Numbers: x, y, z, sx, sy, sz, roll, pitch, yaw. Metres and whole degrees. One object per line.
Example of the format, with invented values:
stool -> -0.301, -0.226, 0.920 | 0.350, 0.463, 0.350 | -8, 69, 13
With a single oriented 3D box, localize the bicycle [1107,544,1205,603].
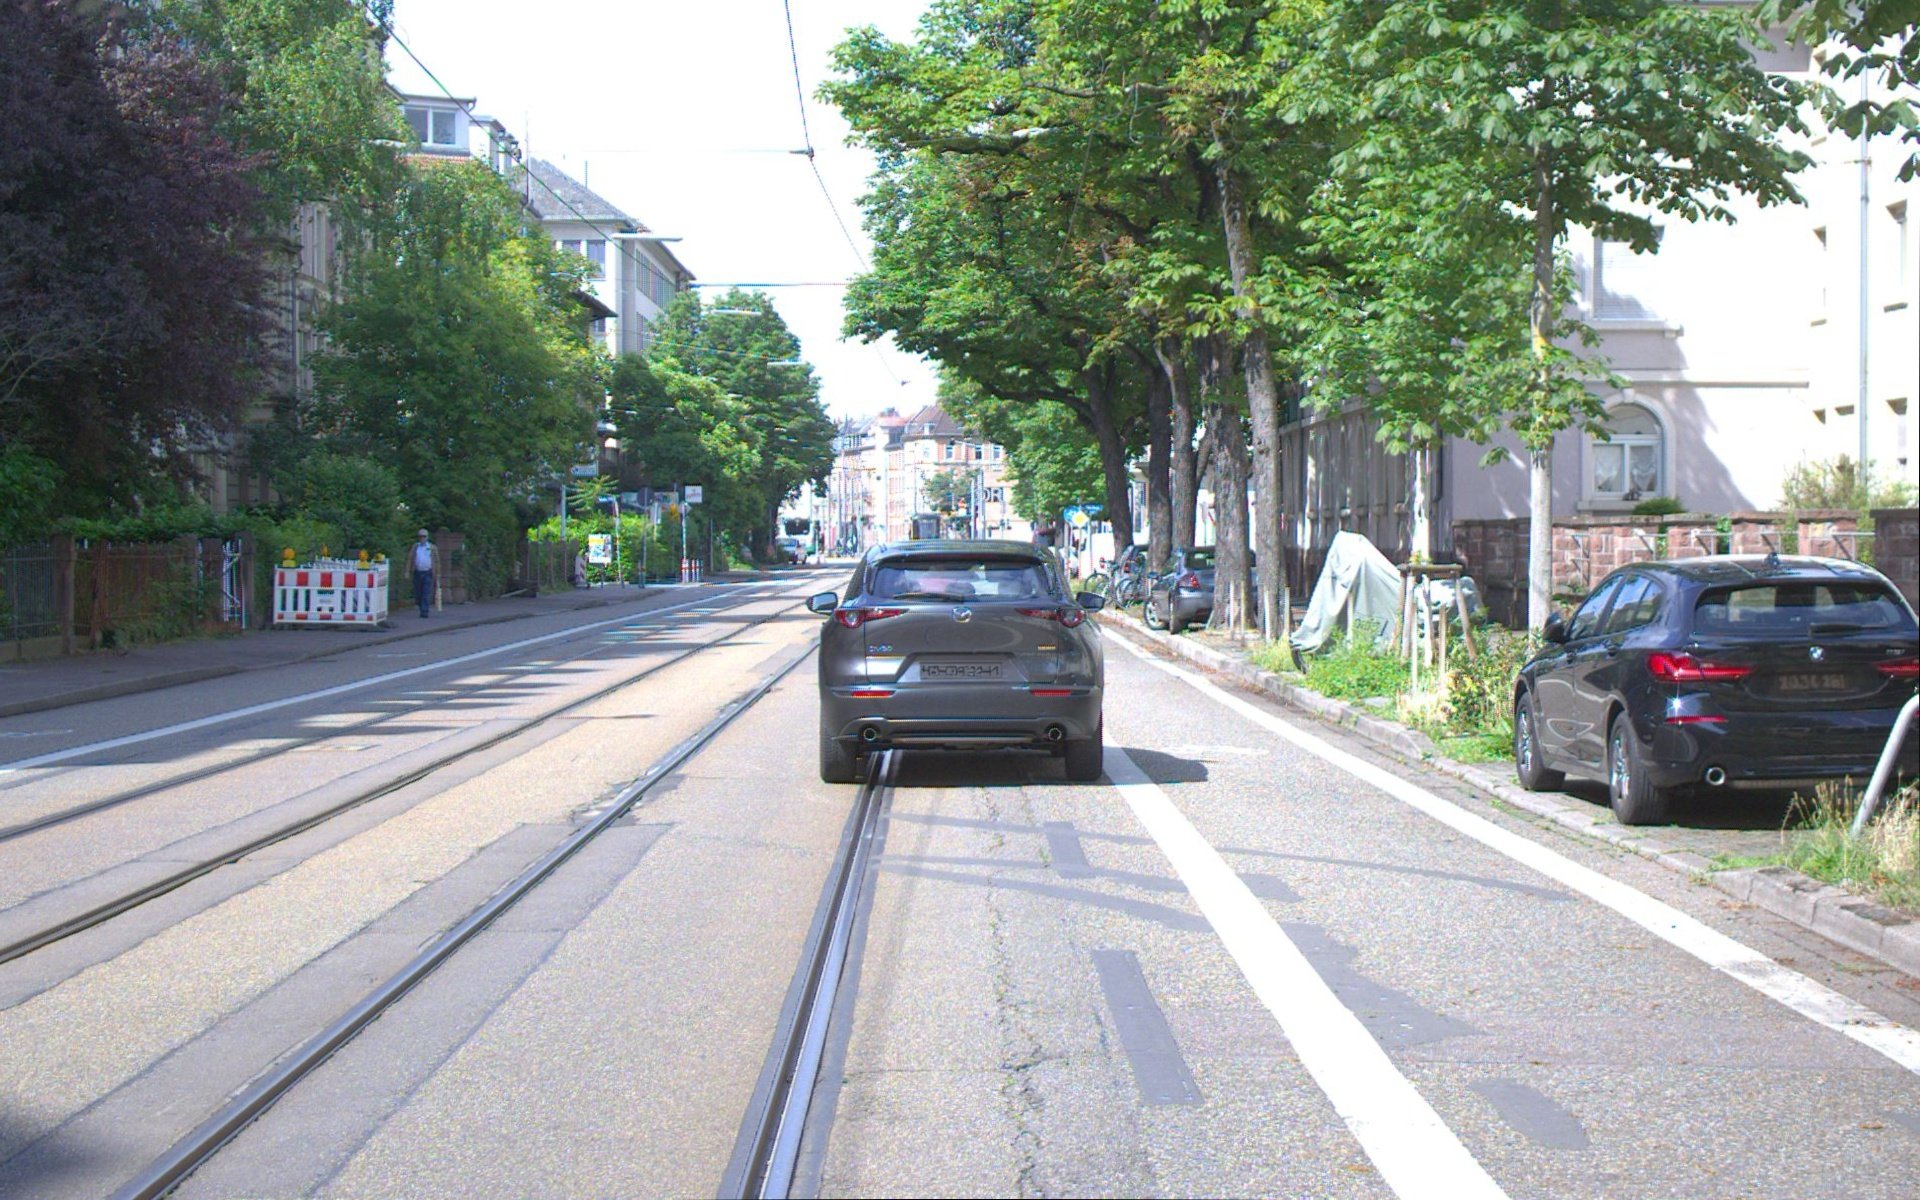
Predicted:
bicycle -> 4.037, -0.550, 70.751 | 1.938, 1.172, 0.513 | -1, 0, 12

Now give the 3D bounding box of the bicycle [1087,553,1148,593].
bicycle -> 3.886, -0.671, 85.092 | 1.491, 0.980, 0.259 | -1, 0, 2

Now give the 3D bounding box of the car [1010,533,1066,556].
car -> 5.862, -4.179, 259.008 | 3.805, 1.612, 1.638 | 2, 1, -18

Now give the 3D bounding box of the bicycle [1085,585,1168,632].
bicycle -> 3.863, 0.198, 79.830 | 1.903, 1.068, 0.402 | 0, 1, 0

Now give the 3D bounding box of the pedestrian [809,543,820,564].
pedestrian -> -10.463, -3.384, 247.812 | 0.751, 1.505, 0.824 | 0, 1, -4

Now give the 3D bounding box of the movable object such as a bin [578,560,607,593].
movable object such as a bin -> -11.313, -0.734, 105.866 | 0.745, 0.984, 1.114 | 2, 1, 0

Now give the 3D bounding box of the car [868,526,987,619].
car -> -0.584, -0.507, 60.974 | 1.993, 1.523, 4.000 | 2, 1, -1

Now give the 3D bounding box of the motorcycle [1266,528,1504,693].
motorcycle -> 4.352, 0.082, 35.354 | 2.385, 1.592, 0.677 | 3, 2, 38

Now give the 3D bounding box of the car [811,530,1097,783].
car -> -0.055, 0.308, 22.518 | 1.720, 1.521, 3.590 | 0, 1, -1

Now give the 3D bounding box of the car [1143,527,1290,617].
car -> 4.275, -0.483, 57.892 | 1.846, 1.404, 4.395 | -2, 1, -3

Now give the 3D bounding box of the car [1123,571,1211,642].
car -> 4.515, 0.133, 75.373 | 1.666, 1.425, 3.766 | -2, 1, 0

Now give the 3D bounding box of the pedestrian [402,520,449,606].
pedestrian -> -10.620, -0.737, 68.301 | 0.822, 1.700, 0.891 | 0, 1, -3

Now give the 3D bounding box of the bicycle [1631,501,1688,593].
bicycle -> 9.366, -0.714, 46.066 | 0.412, 1.207, 1.704 | 0, 1, 0

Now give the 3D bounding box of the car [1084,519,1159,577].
car -> 5.472, -1.798, 117.314 | 1.786, 1.932, 4.992 | 0, 1, -6

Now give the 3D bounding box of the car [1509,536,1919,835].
car -> 4.360, 0.408, 19.579 | 1.706, 1.474, 4.197 | 2, 1, -1
